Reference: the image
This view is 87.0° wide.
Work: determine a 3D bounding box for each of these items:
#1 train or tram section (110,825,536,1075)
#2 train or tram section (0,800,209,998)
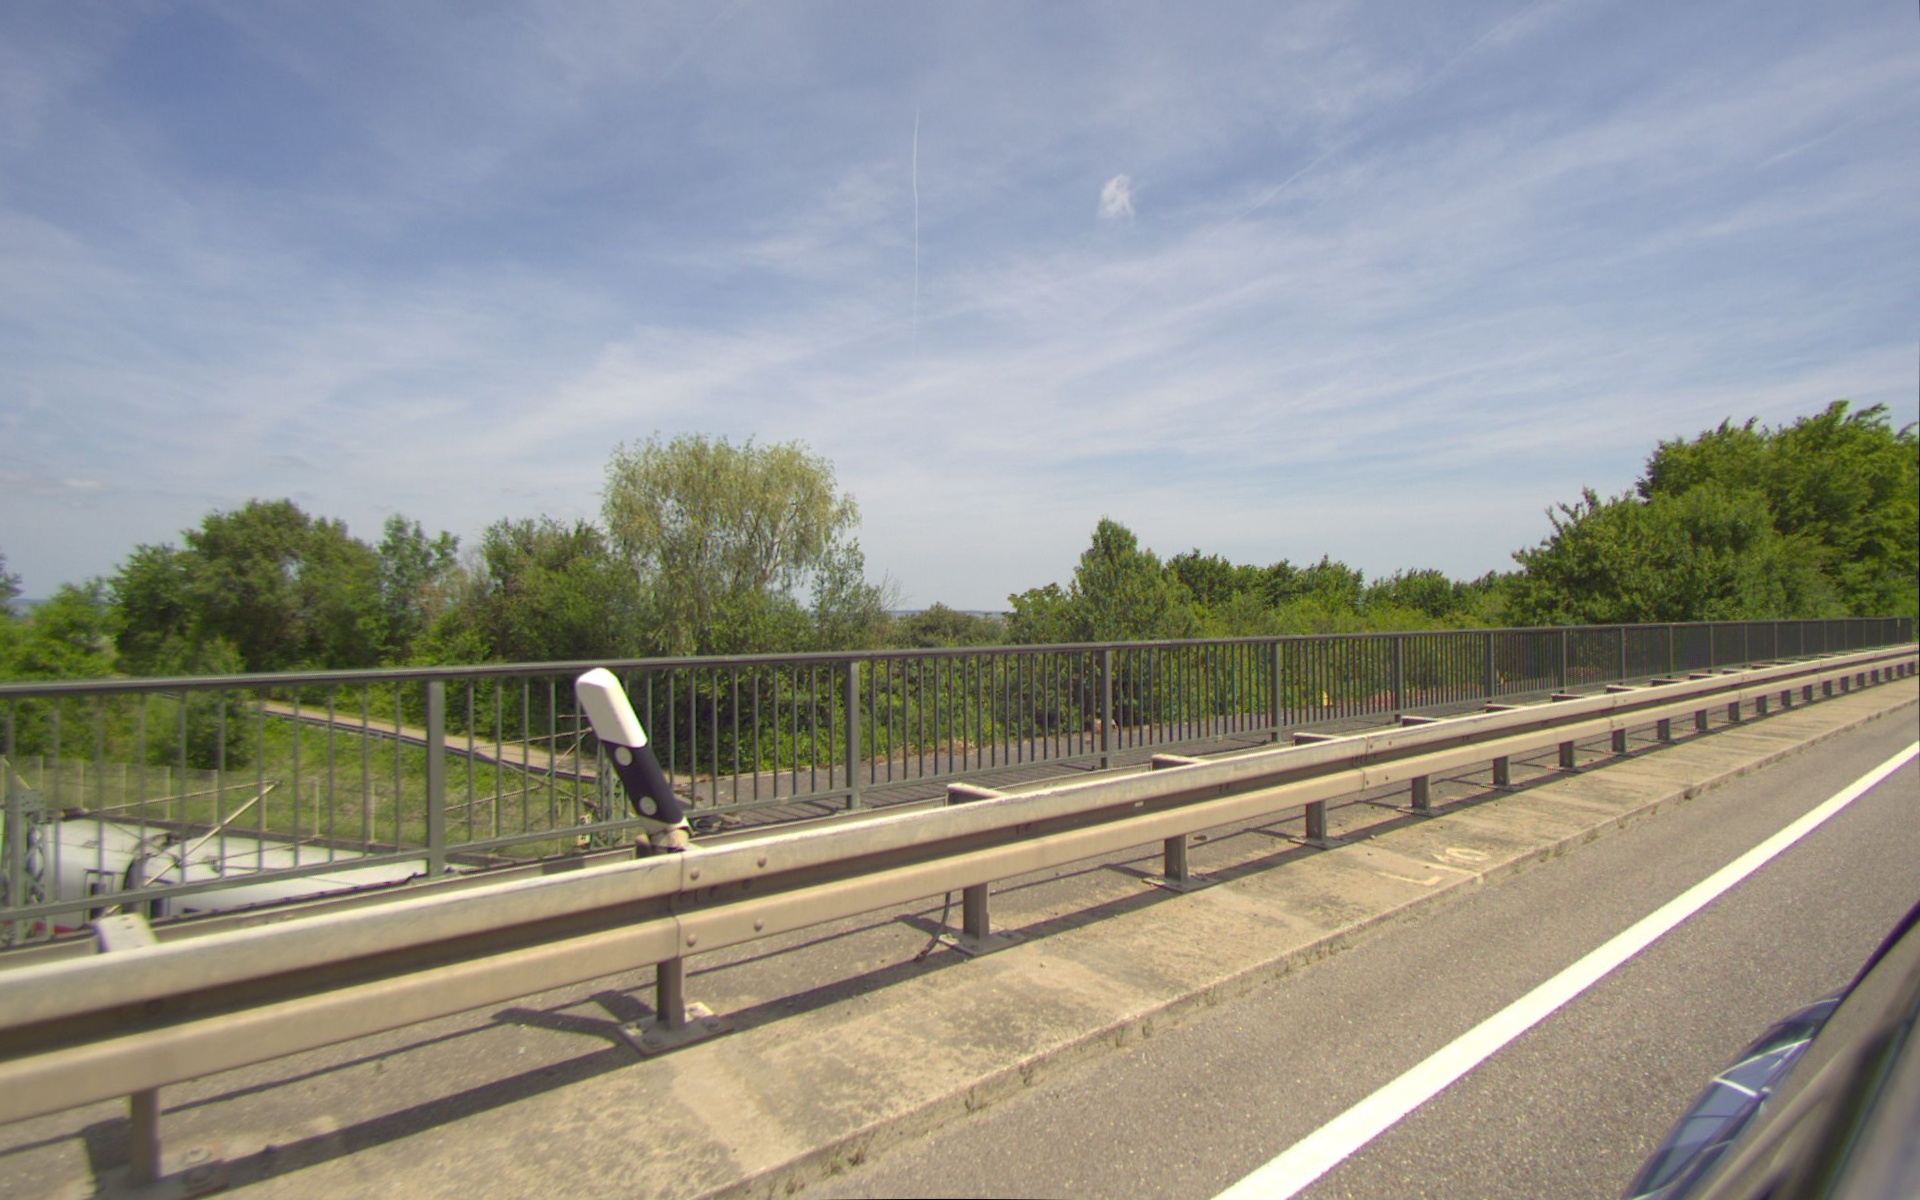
[{"bbox_3d":[-16.761,8.677,26.300,12.298,4.285,2.536,-1,-1,21],"label":"train or tram section"},{"bbox_3d":[-28.235,8.691,30.743,12.298,4.285,2.536,-1,-1,21],"label":"train or tram section"}]
